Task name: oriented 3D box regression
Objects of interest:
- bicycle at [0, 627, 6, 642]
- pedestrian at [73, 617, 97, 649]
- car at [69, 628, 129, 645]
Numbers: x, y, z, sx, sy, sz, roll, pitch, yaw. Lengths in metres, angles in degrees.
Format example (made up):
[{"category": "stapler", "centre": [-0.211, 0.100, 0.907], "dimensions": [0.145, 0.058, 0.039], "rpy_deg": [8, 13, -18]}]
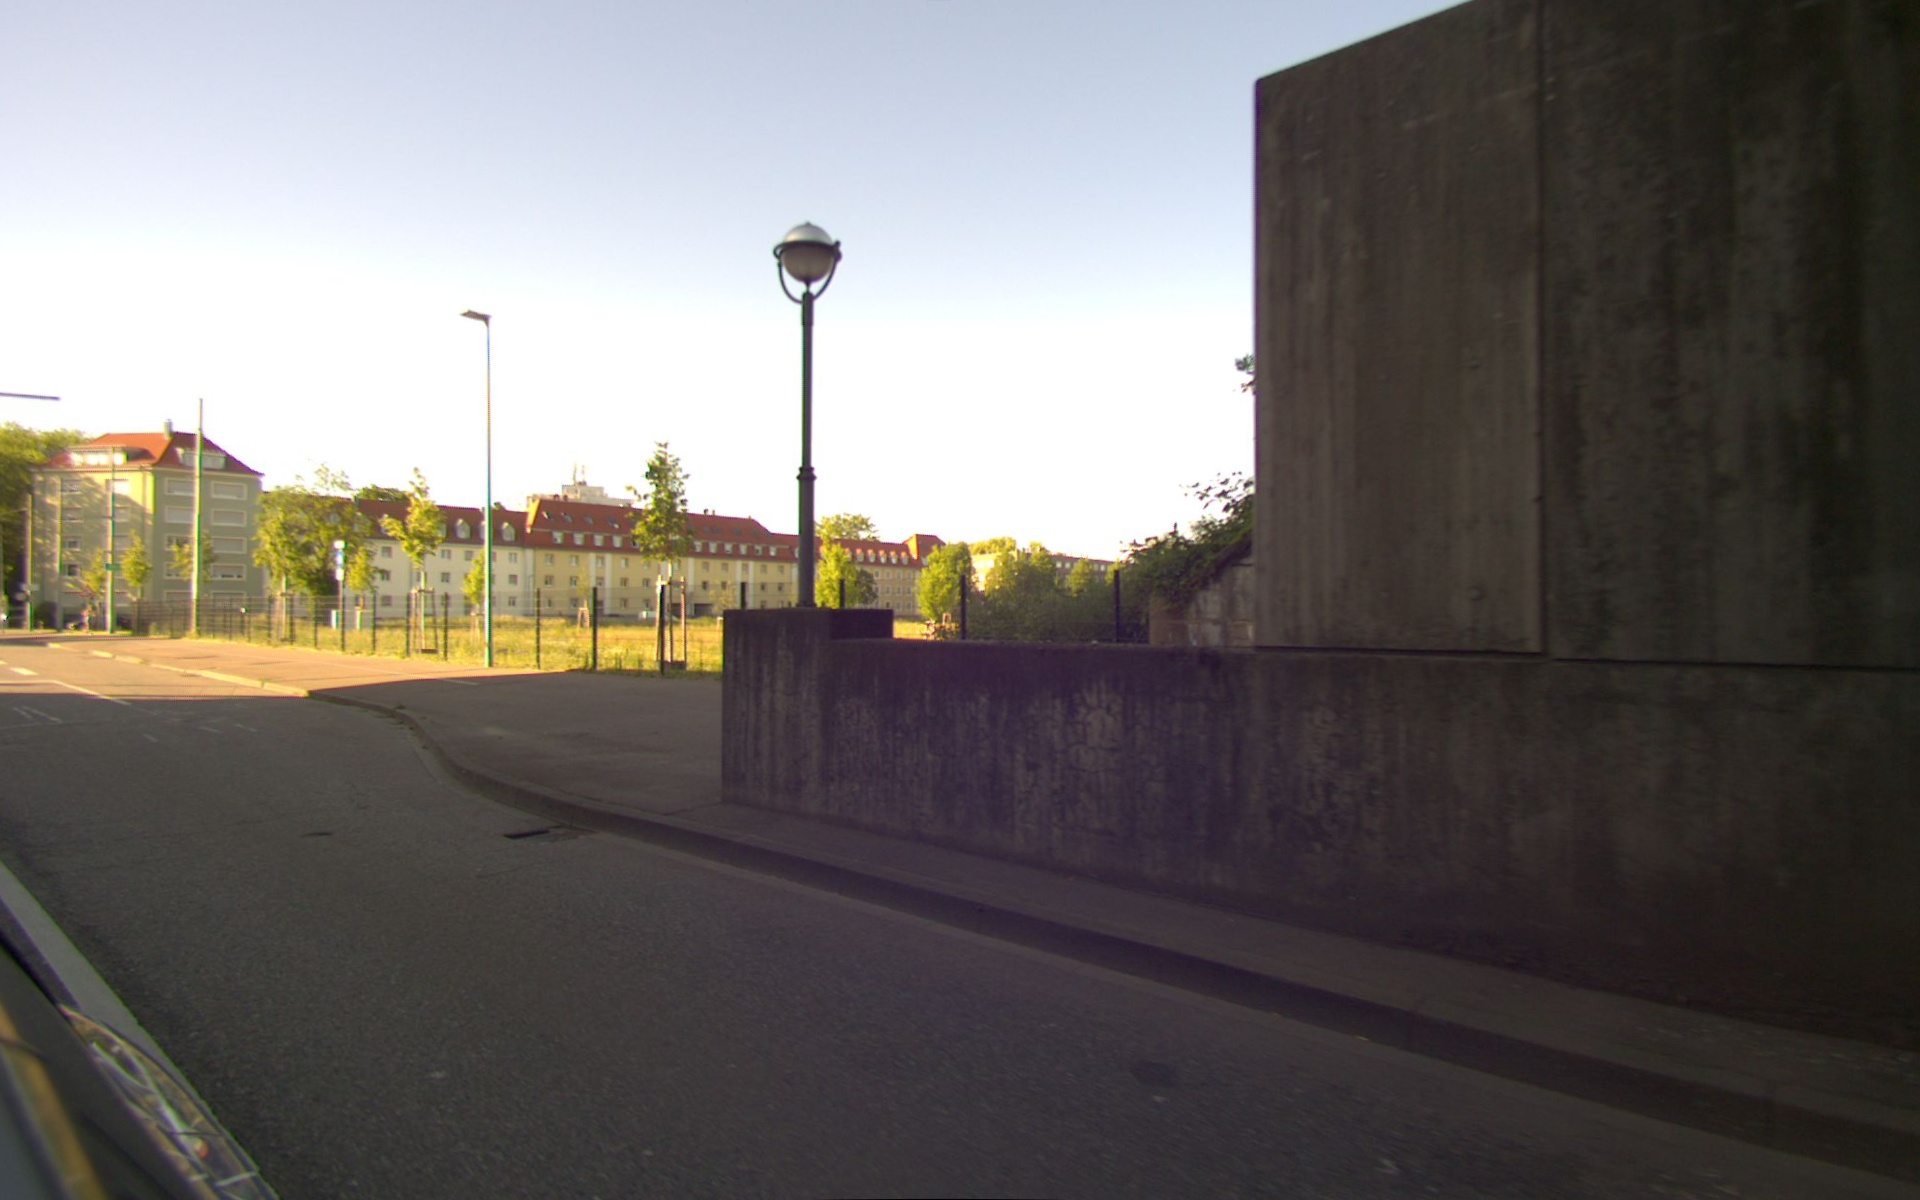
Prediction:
[{"category": "bicycle", "centre": [-100.939, 3.593, 105.534], "dimensions": [2.017, 1.473, 0.728], "rpy_deg": [2, 1, -20]}, {"category": "pedestrian", "centre": [-46.898, 1.752, 54.260], "dimensions": [1.181, 1.641, 0.823], "rpy_deg": [-1, 0, 44]}, {"category": "car", "centre": [-81.178, 3.470, 95.450], "dimensions": [1.941, 1.505, 4.149], "rpy_deg": [-3, -3, 42]}]
